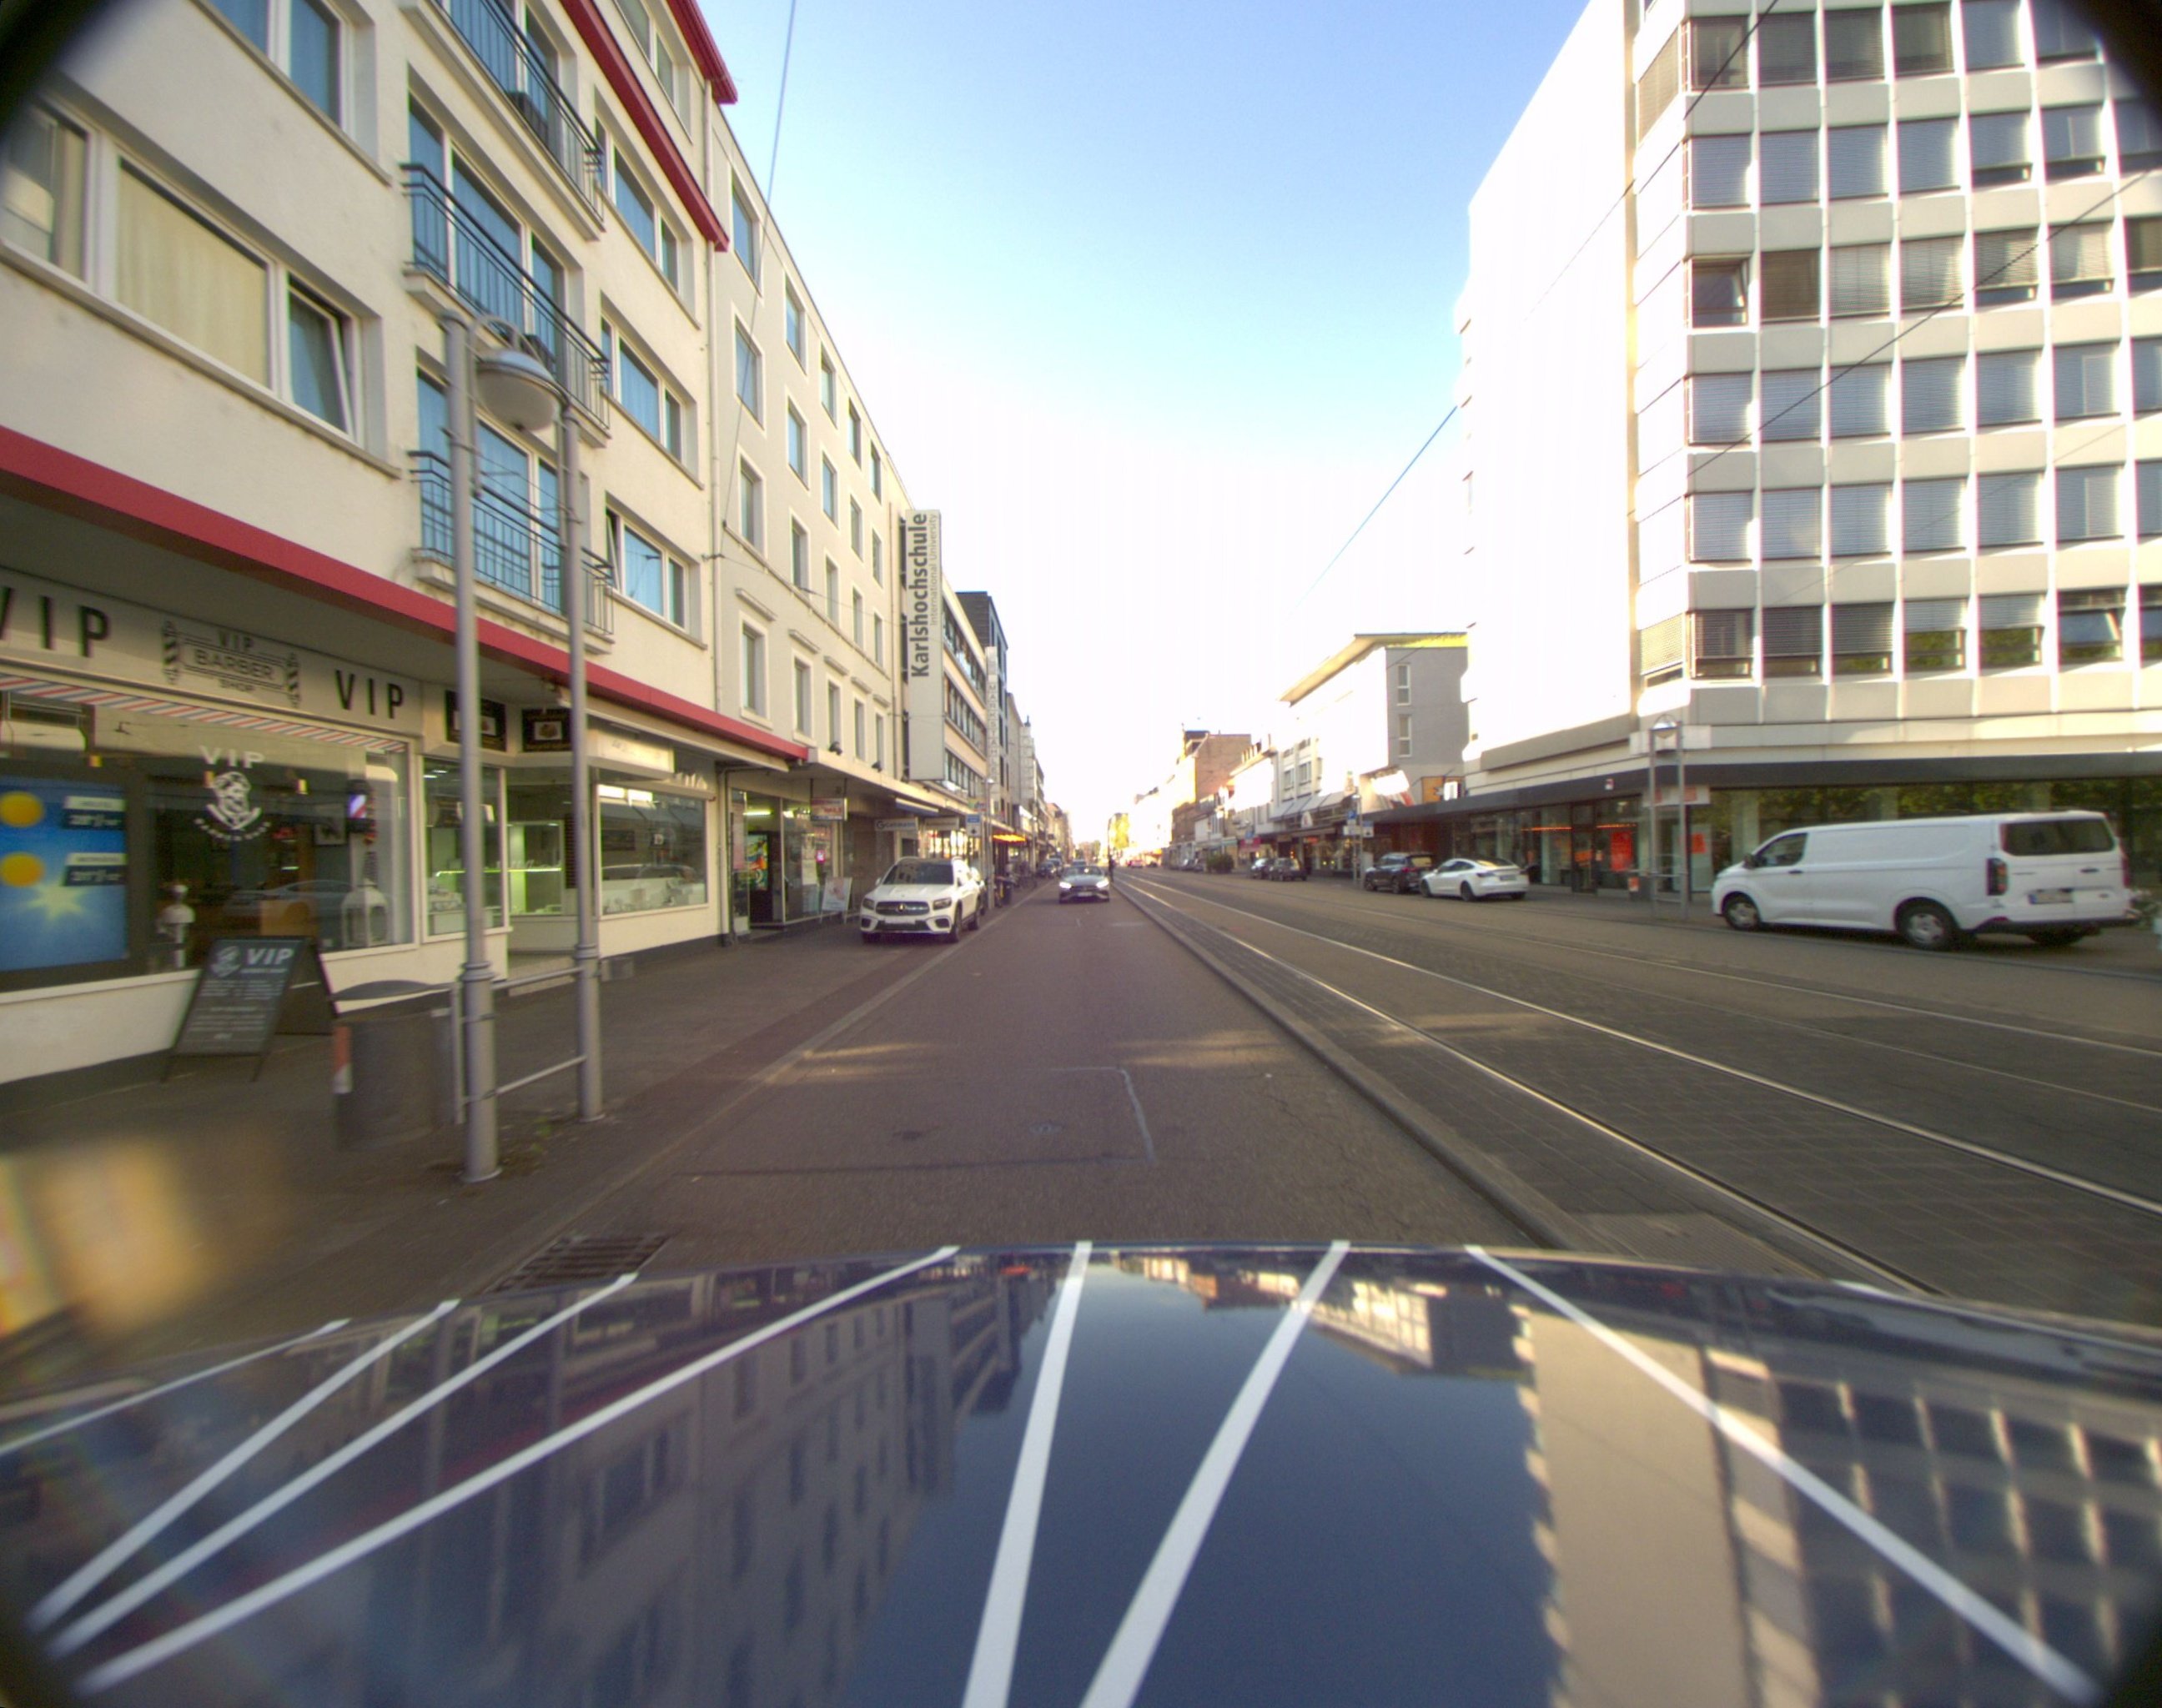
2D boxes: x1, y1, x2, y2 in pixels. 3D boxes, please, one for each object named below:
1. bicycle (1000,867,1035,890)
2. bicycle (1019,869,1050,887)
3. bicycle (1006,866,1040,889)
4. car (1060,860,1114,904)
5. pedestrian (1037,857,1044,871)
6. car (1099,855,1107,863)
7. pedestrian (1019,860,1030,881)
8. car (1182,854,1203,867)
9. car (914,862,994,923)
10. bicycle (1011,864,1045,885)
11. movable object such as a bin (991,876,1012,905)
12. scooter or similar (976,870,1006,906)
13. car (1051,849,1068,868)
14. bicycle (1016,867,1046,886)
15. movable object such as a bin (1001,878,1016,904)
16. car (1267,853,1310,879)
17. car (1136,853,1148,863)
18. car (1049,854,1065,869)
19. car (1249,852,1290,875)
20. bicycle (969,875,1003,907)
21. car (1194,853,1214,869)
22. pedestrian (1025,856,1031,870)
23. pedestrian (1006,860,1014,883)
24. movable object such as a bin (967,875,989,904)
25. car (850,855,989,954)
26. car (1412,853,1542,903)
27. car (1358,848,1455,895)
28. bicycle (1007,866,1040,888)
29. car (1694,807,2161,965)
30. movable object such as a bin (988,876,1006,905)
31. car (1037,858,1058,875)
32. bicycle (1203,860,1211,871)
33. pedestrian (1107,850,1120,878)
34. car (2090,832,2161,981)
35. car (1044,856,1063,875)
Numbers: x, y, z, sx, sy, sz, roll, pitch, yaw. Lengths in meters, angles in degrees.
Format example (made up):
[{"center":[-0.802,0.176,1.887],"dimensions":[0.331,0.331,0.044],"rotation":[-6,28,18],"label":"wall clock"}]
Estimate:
[{"center":[-3.331,1.275,39.924],"dimensions":[1.792,1.152,0.669],"rotation":[-1,0,0],"label":"bicycle"},{"center":[-2.652,1.359,43.508],"dimensions":[1.778,1.026,0.597],"rotation":[-1,0,0],"label":"bicycle"},{"center":[-3.136,1.278,41.016],"dimensions":[1.792,1.210,0.669],"rotation":[-1,0,0],"label":"bicycle"},{"center":[0.203,0.997,29.291],"dimensions":[1.858,1.463,4.786],"rotation":[-1,0,0],"label":"car"},{"center":[-4.299,1.056,81.100],"dimensions":[0.697,1.499,0.814],"rotation":[-1,0,0],"label":"pedestrian"},{"center":[5.828,1.229,199.957],"dimensions":[1.998,2.002,4.000],"rotation":[-3,0,1],"label":"car"},{"center":[-4.111,1.191,55.460],"dimensions":[0.584,1.485,0.523],"rotation":[0,1,-35],"label":"pedestrian"},{"center":[13.693,0.798,93.279],"dimensions":[1.822,1.505,4.762],"rotation":[-2,0,0],"label":"car"},{"center":[-3.531,1.026,21.818],"dimensions":[1.618,1.519,4.070],"rotation":[-1,0,0],"label":"car"},{"center":[-3.261,1.274,46.612],"dimensions":[2.043,1.267,0.524],"rotation":[-1,0,-9],"label":"bicycle"},{"center":[-2.867,1.325,27.478],"dimensions":[0.688,1.008,0.508],"rotation":[-1,1,3],"label":"movable object such as a bin"},{"center":[-3.088,1.170,26.180],"dimensions":[0.995,1.224,0.320],"rotation":[0,1,-1],"label":"scooter or similar"},{"center":[-2.946,0.660,104.354],"dimensions":[2.051,2.486,5.687],"rotation":[-3,-1,-1],"label":"car"},{"center":[-3.010,1.341,45.418],"dimensions":[1.778,1.124,0.478],"rotation":[-1,0,-5],"label":"bicycle"},{"center":[-2.678,1.355,27.986],"dimensions":[0.489,0.952,0.458],"rotation":[0,1,4],"label":"movable object such as a bin"},{"center":[13.363,0.724,49.083],"dimensions":[1.605,1.514,3.588],"rotation":[-4,0,-2],"label":"car"},{"center":[10.826,0.670,134.038],"dimensions":[1.802,1.625,3.676],"rotation":[-1,0,0],"label":"car"},{"center":[-3.119,0.936,98.126],"dimensions":[2.052,1.899,4.877],"rotation":[-1,0,-3],"label":"car"},{"center":[13.589,0.664,55.059],"dimensions":[1.741,1.514,4.851],"rotation":[-3,0,1],"label":"car"},{"center":[-3.227,1.254,25.834],"dimensions":[1.134,1.073,0.320],"rotation":[0,1,-1],"label":"bicycle"},{"center":[13.534,0.730,83.943],"dimensions":[1.701,1.594,2.891],"rotation":[-3,0,0],"label":"car"},{"center":[-5.558,0.912,80.317],"dimensions":[0.577,1.431,0.731],"rotation":[1,1,0],"label":"pedestrian"},{"center":[-5.135,1.262,54.953],"dimensions":[0.583,1.576,0.597],"rotation":[1,1,-2],"label":"pedestrian"},{"center":[-3.752,1.295,27.633],"dimensions":[0.659,1.008,0.636],"rotation":[-1,1,3],"label":"movable object such as a bin"},{"center":[-3.205,0.904,16.158],"dimensions":[1.854,1.714,5.192],"rotation":[0,0,0],"label":"car"},{"center":[13.359,0.750,25.983],"dimensions":[1.893,1.413,4.655],"rotation":[-3,0,-1],"label":"car"},{"center":[13.358,0.654,31.512],"dimensions":[1.983,1.669,4.655],"rotation":[-3,0,1],"label":"car"},{"center":[-3.198,1.288,42.138],"dimensions":[1.792,1.210,0.587],"rotation":[-1,0,0],"label":"bicycle"},{"center":[13.232,0.411,12.561],"dimensions":[1.999,1.963,5.096],"rotation":[-3,0,0],"label":"car"},{"center":[-2.961,1.284,26.816],"dimensions":[0.523,1.008,0.671],"rotation":[-1,1,3],"label":"movable object such as a bin"},{"center":[-3.059,1.163,70.751],"dimensions":[1.726,1.476,4.416],"rotation":[1,0,0],"label":"car"},{"center":[12.803,1.130,77.050],"dimensions":[0.519,1.084,1.716],"rotation":[-3,0,1],"label":"bicycle"},{"center":[2.099,0.668,49.491],"dimensions":[0.806,1.827,0.746],"rotation":[0,1,-1],"label":"pedestrian"},{"center":[13.161,0.579,6.929],"dimensions":[1.812,1.676,4.649],"rotation":[-3,0,3],"label":"car"},{"center":[-2.841,1.099,77.200],"dimensions":[1.821,1.849,4.548],"rotation":[0,0,-3],"label":"car"}]
